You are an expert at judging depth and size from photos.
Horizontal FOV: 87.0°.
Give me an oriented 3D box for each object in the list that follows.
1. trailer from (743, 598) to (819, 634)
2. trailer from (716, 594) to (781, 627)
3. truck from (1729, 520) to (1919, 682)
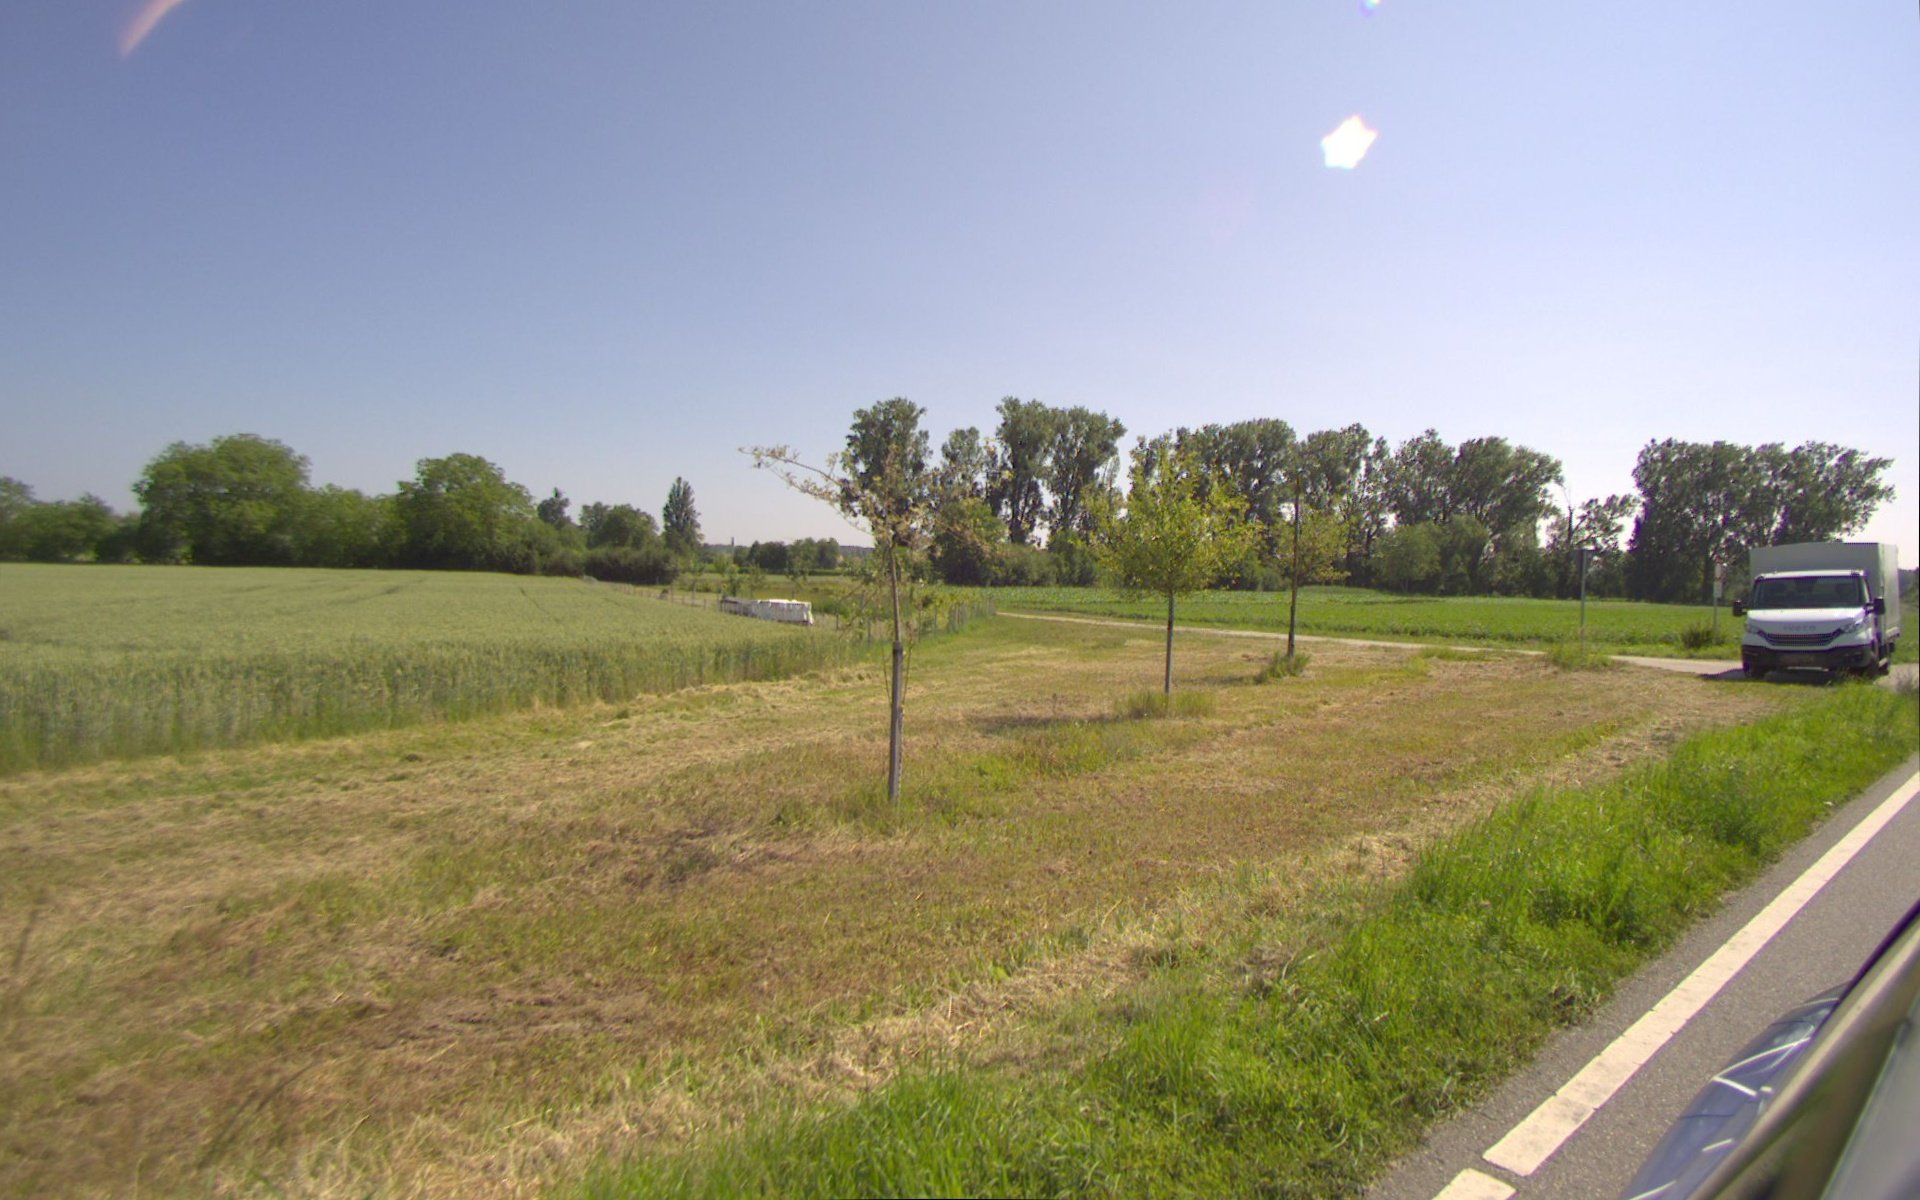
[{"bbox_3d":[-6.362,0.522,35.726,1.630,1.204,3.601,0,0,-28],"label":"trailer"},{"bbox_3d":[-8.499,0.400,40.478,1.630,1.204,3.554,0,1,-28],"label":"trailer"},{"bbox_3d":[18.724,0.028,21.720,6.890,2.980,2.338,0,-1,-43],"label":"truck"}]
